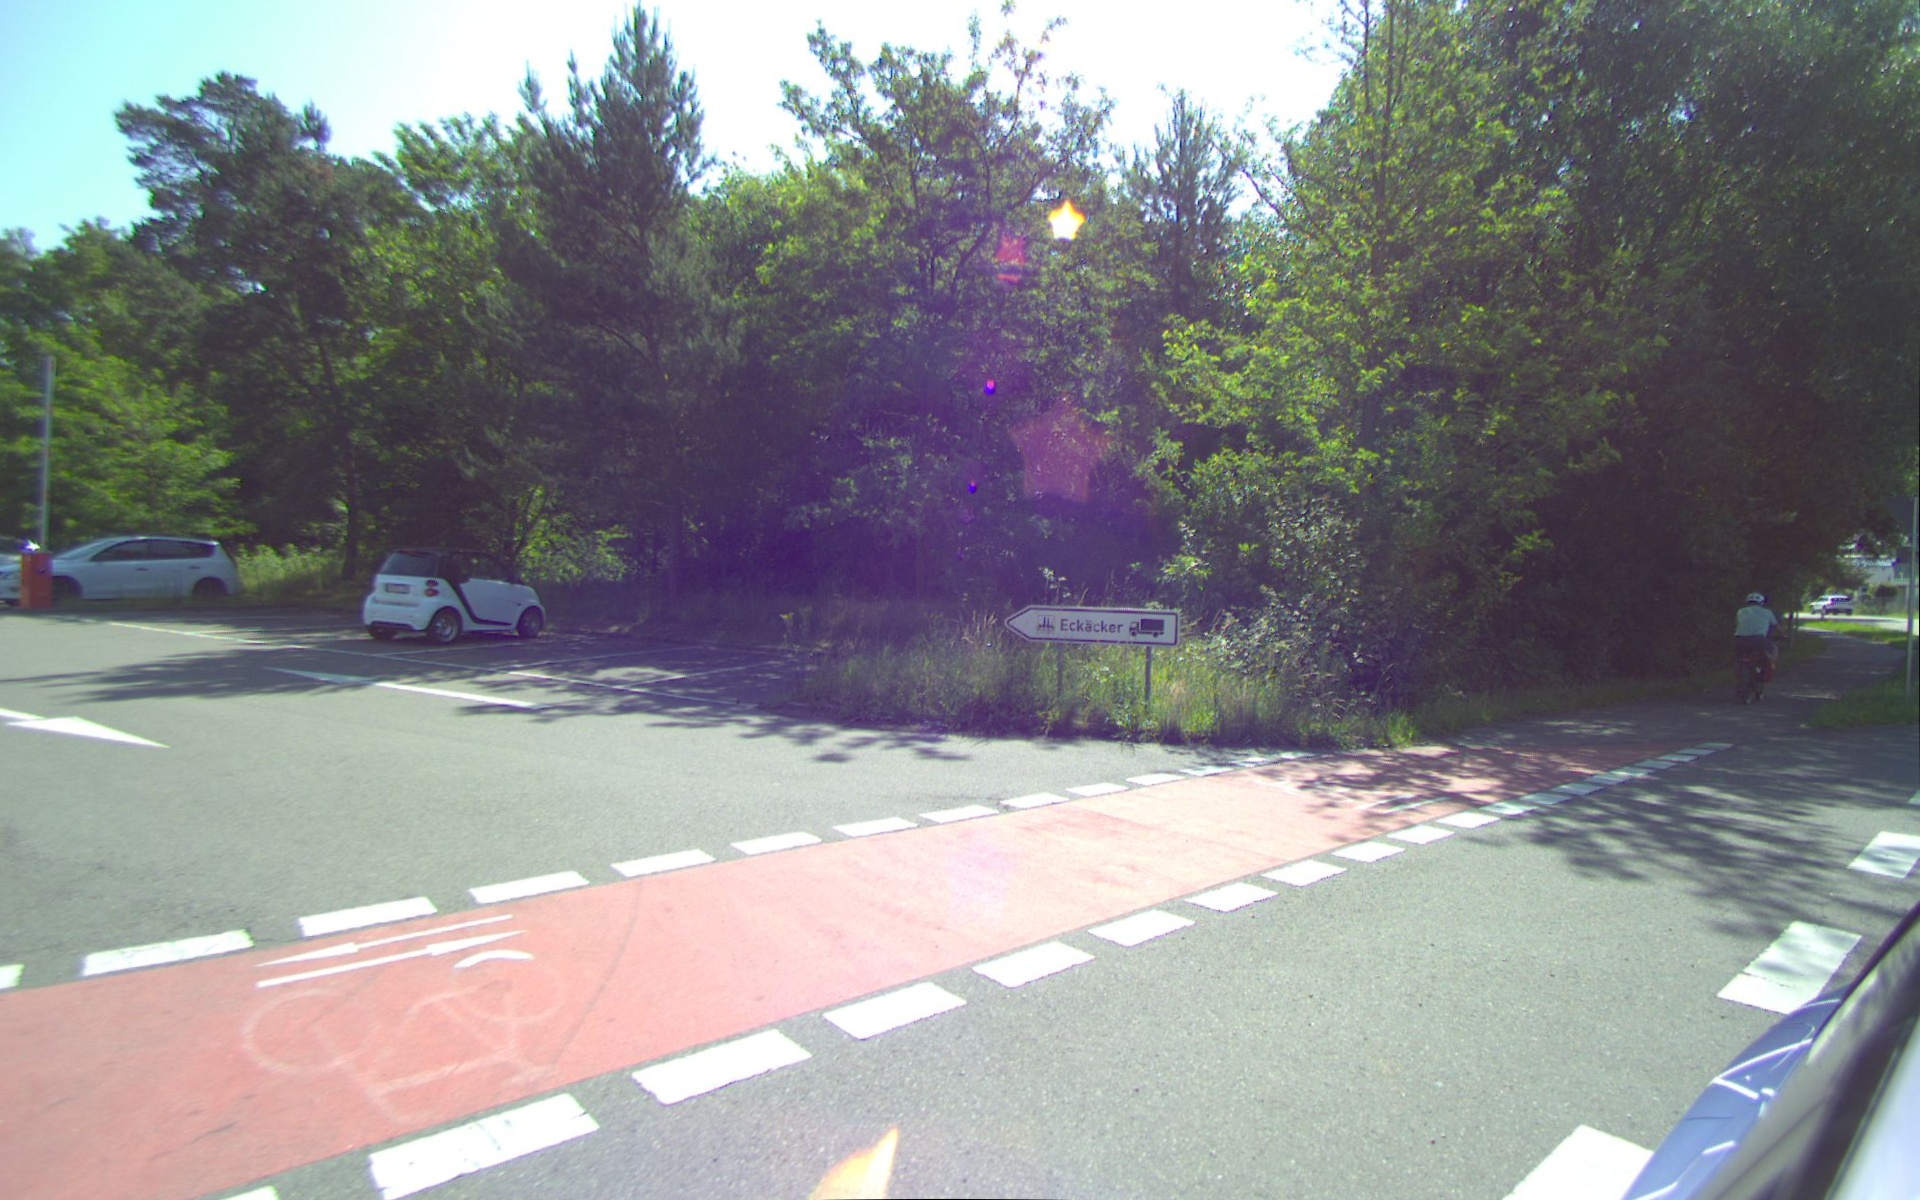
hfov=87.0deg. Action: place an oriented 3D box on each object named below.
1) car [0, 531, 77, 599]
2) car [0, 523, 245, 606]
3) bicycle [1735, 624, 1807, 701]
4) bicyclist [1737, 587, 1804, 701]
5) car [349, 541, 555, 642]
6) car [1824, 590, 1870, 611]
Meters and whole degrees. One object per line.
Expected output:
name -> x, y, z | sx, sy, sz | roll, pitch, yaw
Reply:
car -> -22.773, -0.827, 23.045 | 1.740, 1.549, 3.637 | 2, 2, 23
car -> -17.942, -0.741, 21.408 | 1.740, 1.549, 4.340 | 2, 2, 23
bicycle -> 13.005, 0.975, 16.211 | 1.492, 1.138, 0.591 | 1, 0, -39
bicyclist -> 12.999, 0.681, 16.228 | 0.961, 1.752, 0.638 | 1, 0, -39
car -> -8.599, -0.179, 17.334 | 1.579, 1.538, 2.820 | 2, 2, 22
car -> 74.701, -0.006, 85.245 | 1.810, 1.660, 3.805 | 2, 2, 25
